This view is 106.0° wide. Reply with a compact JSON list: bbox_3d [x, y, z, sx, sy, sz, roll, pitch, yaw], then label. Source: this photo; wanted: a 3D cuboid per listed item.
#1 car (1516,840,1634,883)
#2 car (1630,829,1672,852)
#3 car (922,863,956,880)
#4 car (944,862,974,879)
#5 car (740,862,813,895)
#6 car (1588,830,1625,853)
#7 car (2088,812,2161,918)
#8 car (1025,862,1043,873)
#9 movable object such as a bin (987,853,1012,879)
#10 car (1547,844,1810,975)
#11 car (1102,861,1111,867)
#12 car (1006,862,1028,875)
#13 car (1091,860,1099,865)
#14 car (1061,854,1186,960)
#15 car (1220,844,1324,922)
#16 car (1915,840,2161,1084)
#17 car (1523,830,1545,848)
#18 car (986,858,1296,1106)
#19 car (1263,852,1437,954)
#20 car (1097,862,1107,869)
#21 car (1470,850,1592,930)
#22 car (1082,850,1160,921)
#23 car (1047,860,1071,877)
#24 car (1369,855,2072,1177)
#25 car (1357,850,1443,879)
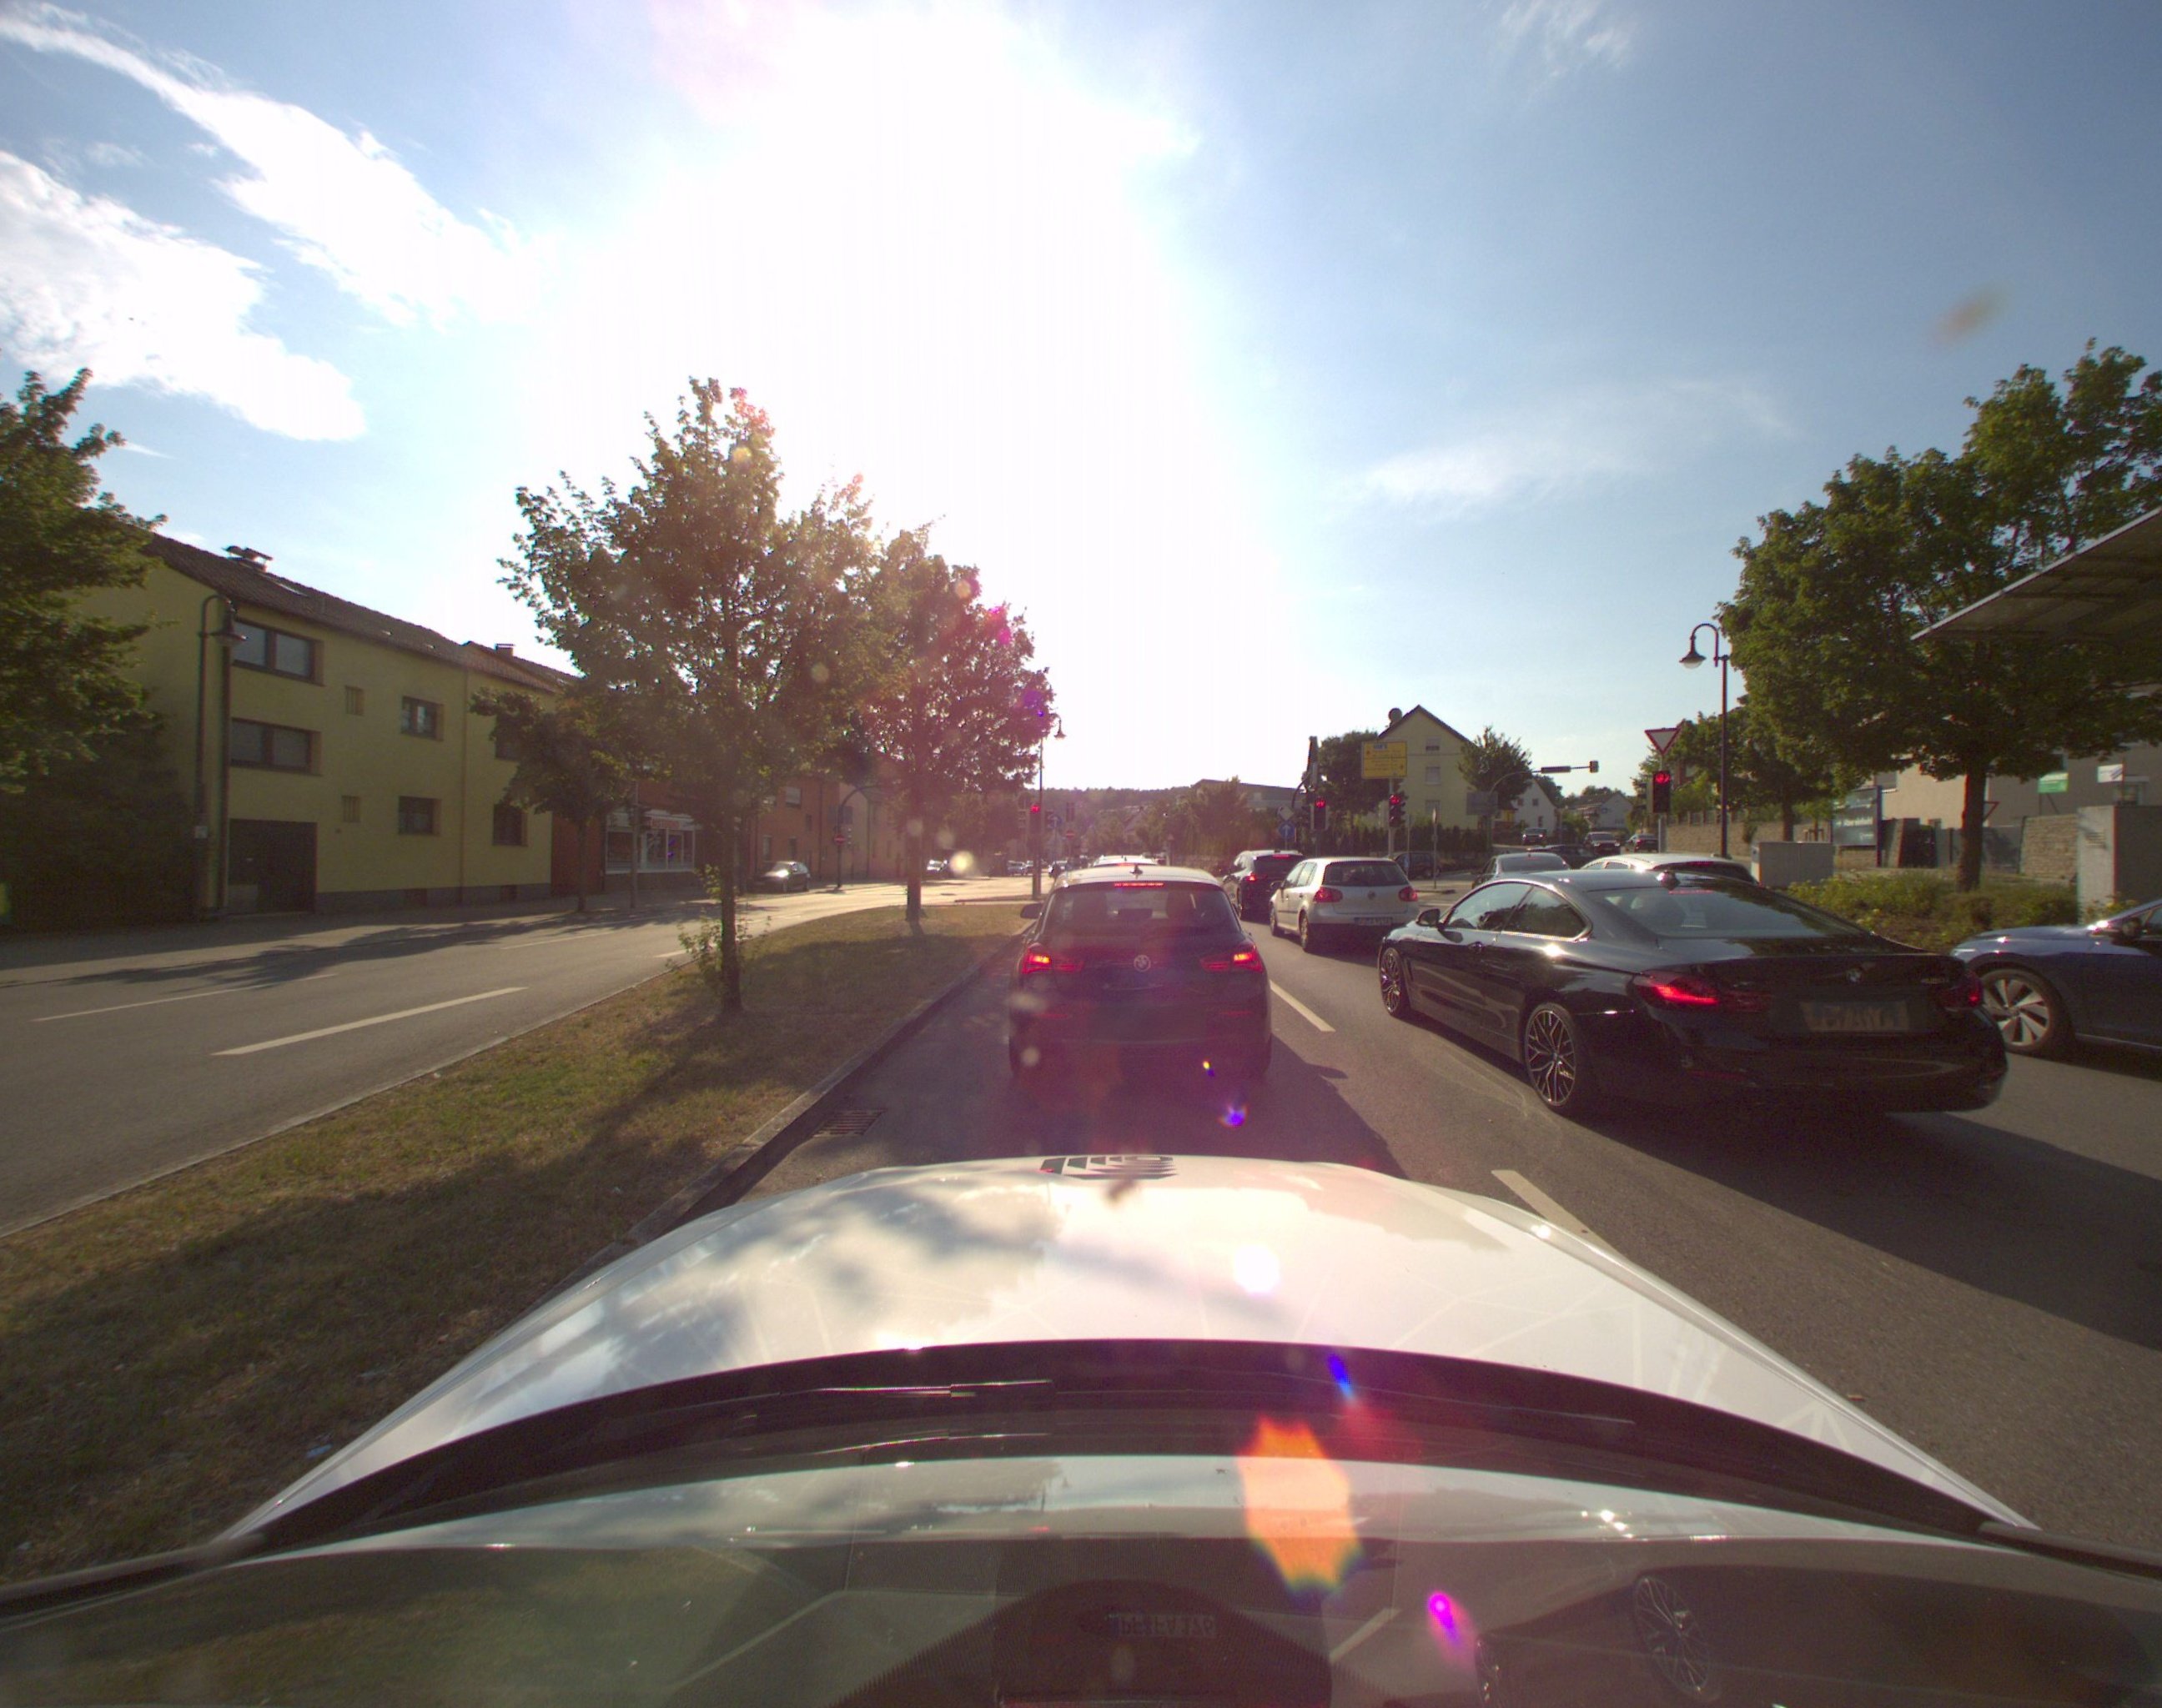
[{"bbox_3d":[21.394,0.323,35.343,4.207,1.680,1.962,-1,0,-14],"label":"car"},{"bbox_3d":[44.156,-1.044,63.197,1.947,1.680,4.239,-2,0,25],"label":"car"},{"bbox_3d":[-11.740,1.426,67.580,1.728,1.301,4.006,4,0,6],"label":"car"},{"bbox_3d":[-11.044,1.472,73.843,1.729,1.301,4.005,4,0,5],"label":"car"},{"bbox_3d":[-14.134,1.114,38.018,1.730,1.301,4.002,4,0,2],"label":"car"},{"bbox_3d":[38.522,-0.876,59.750,1.825,1.641,4.457,0,0,27],"label":"car"},{"bbox_3d":[18.498,0.154,12.371,3.793,1.632,1.784,0,0,10],"label":"car"},{"bbox_3d":[-6.002,1.701,104.129,1.729,1.301,3.804,4,0,5],"label":"car"},{"bbox_3d":[-8.000,1.168,80.135,1.729,2.442,4.452,-1,0,3],"label":"movable object such as a bin"},{"bbox_3d":[8.115,0.668,11.450,1.608,1.542,3.326,-2,0,9],"label":"car"},{"bbox_3d":[6.117,2.471,194.493,1.729,1.301,3.804,4,0,5],"label":"car"},{"bbox_3d":[-7.120,1.602,91.145,1.729,1.301,3.804,4,0,5],"label":"car"},{"bbox_3d":[3.979,2.316,230.459,1.729,1.301,3.804,4,0,5],"label":"car"},{"bbox_3d":[0.724,0.778,14.098,1.781,1.494,4.283,-2,0,2],"label":"car"},{"bbox_3d":[4.573,0.647,20.031,1.755,1.656,3.905,-2,0,2],"label":"car"},{"bbox_3d":[7.408,0.649,4.273,1.754,1.453,4.321,-2,0,3],"label":"car"},{"bbox_3d":[46.621,-1.521,83.855,1.825,1.739,4.813,-1,0,27],"label":"car"},{"bbox_3d":[0.446,0.770,6.953,1.781,1.397,4.283,-2,0,2],"label":"car"},{"bbox_3d":[4.326,0.713,13.749,1.755,1.426,3.905,-2,0,2],"label":"car"},{"bbox_3d":[4.476,2.399,170.896,1.729,1.301,3.804,4,0,5],"label":"car"},{"bbox_3d":[9.886,0.711,18.224,1.642,1.542,4.420,-2,0,19],"label":"car"},{"bbox_3d":[1.025,0.738,21.136,1.781,1.594,4.283,-2,0,2],"label":"car"},{"bbox_3d":[-2.020,1.366,76.106,1.831,1.482,4.004,-1,0,4],"label":"car"},{"bbox_3d":[3.624,0.736,5.808,1.755,1.397,4.283,-2,0,2],"label":"car"},{"bbox_3d":[17.350,0.569,44.346,3.974,1.489,1.848,0,0,-1],"label":"car"}]
